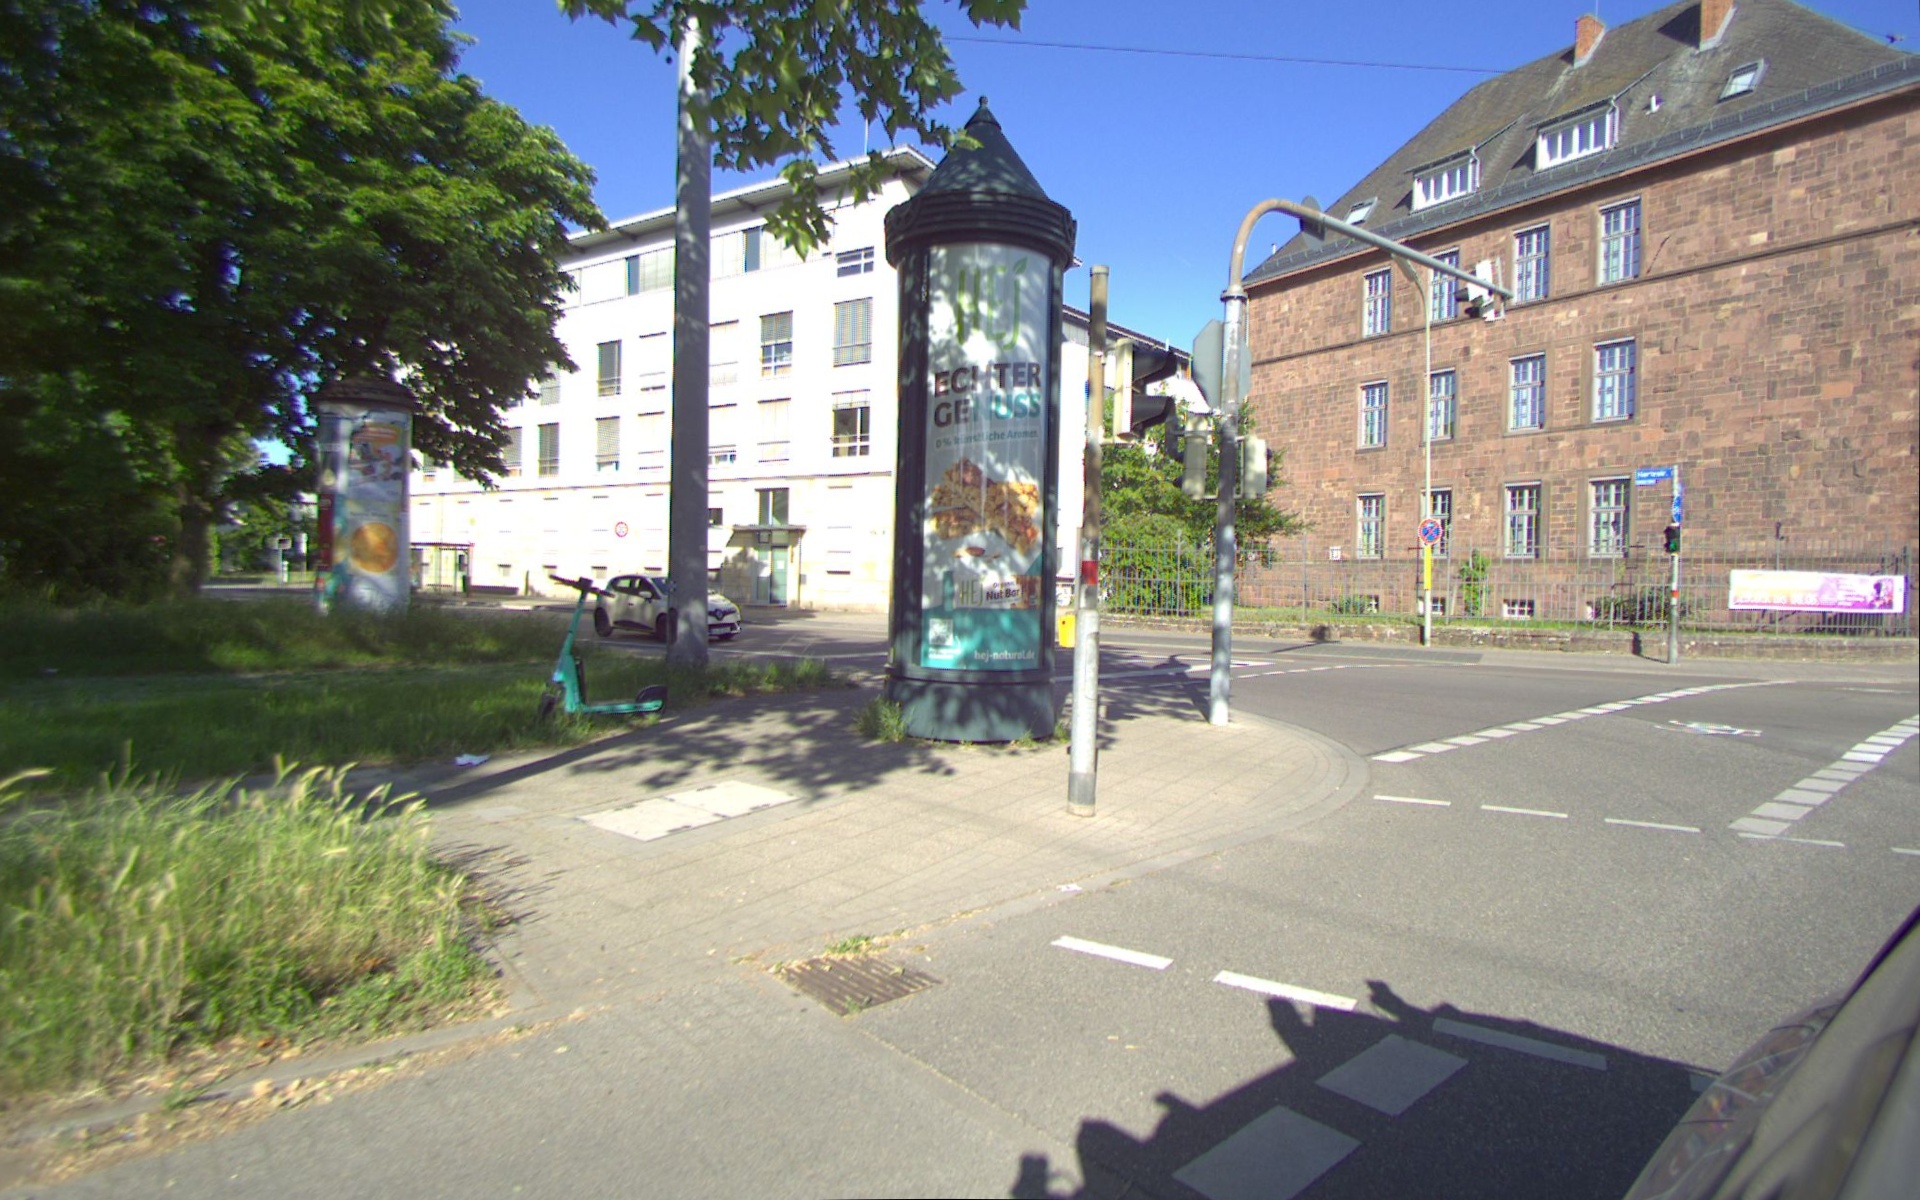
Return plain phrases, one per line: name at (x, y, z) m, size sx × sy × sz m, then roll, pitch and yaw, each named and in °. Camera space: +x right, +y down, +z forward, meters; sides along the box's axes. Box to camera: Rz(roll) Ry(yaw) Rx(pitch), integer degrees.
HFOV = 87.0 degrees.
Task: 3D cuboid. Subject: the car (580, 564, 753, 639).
car at (-6.565, -0.038, 22.469) m, size 3.981 × 1.486 × 1.775 m, roll 2°, pitch 2°, yaw 39°
